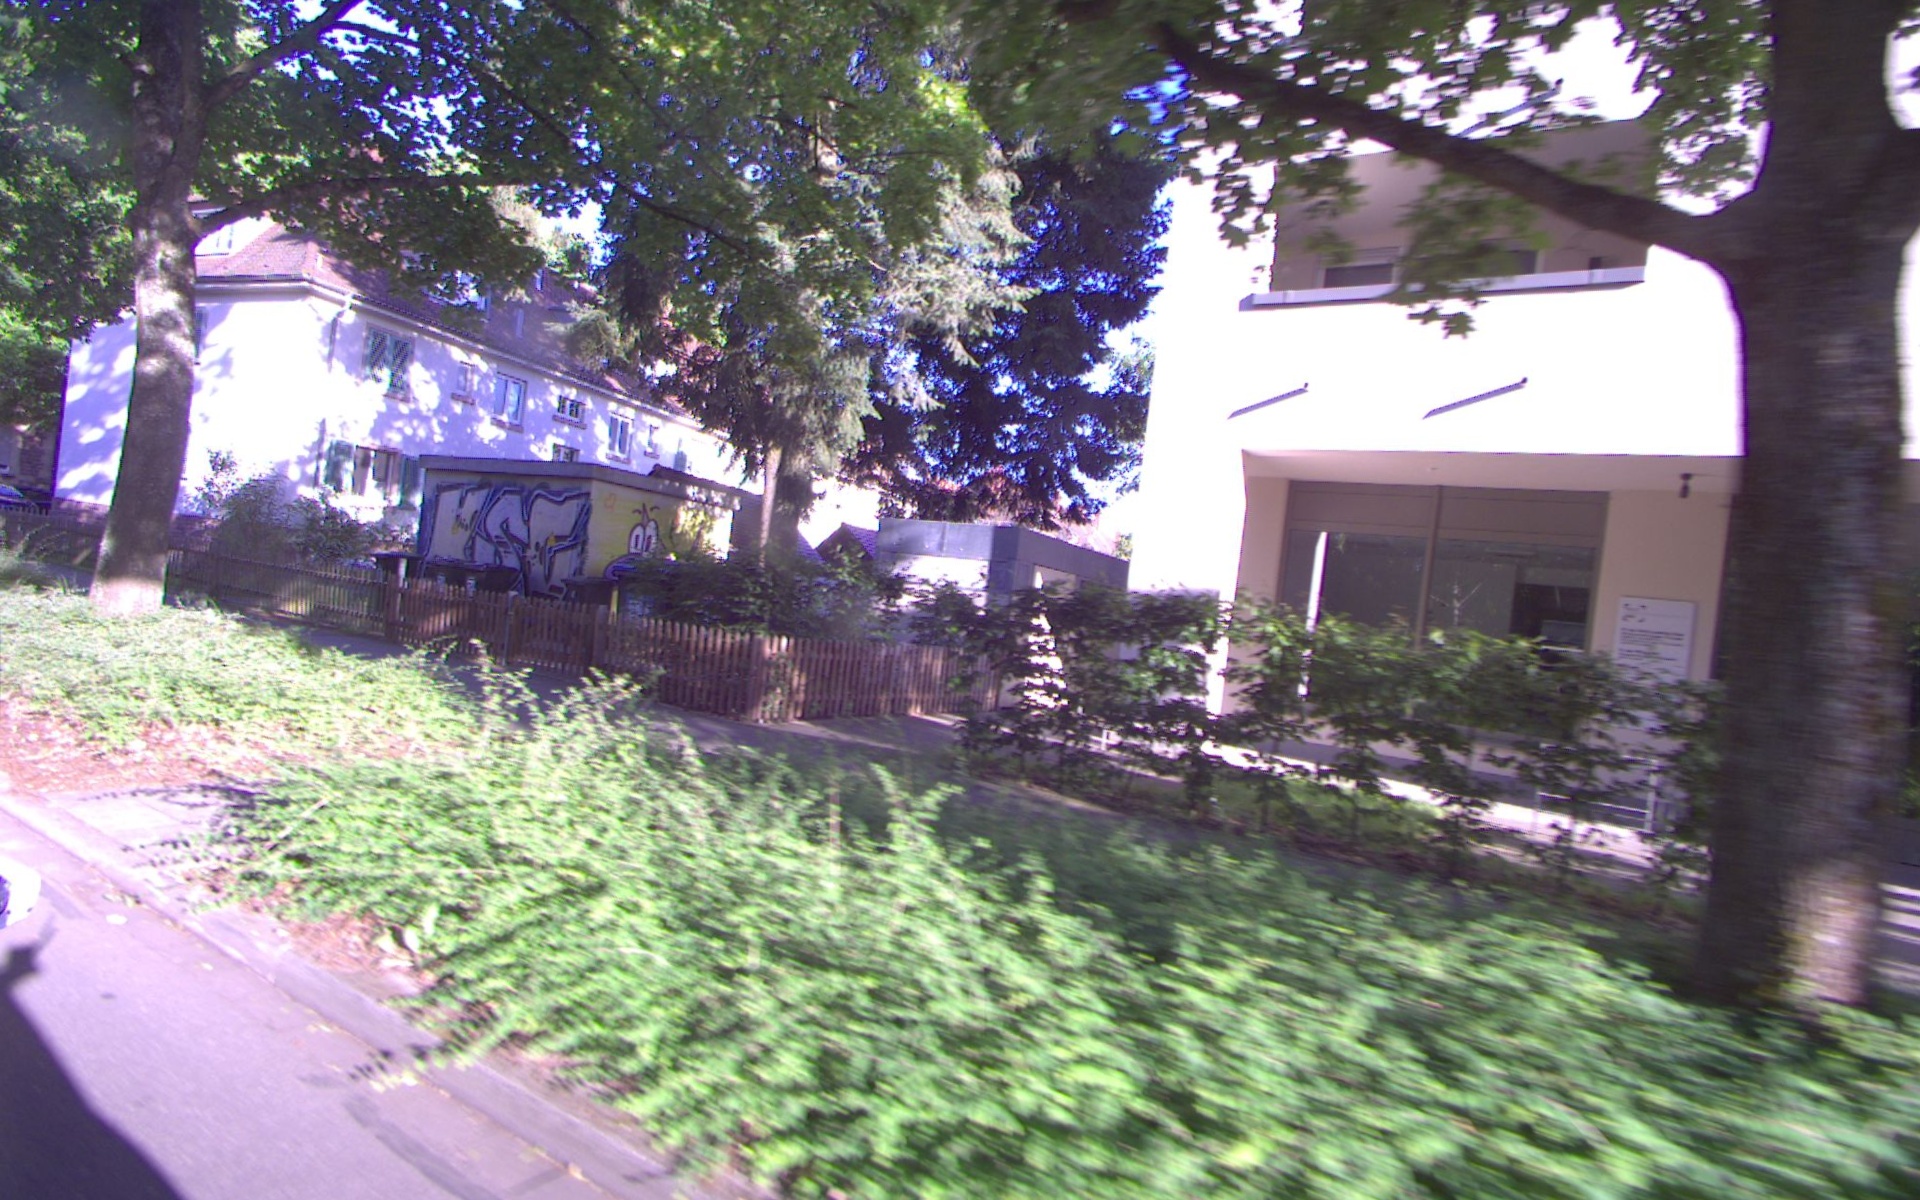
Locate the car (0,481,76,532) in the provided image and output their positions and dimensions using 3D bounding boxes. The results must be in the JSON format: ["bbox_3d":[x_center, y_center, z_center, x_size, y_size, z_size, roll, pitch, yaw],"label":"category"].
[{"bbox_3d":[-38.441,-3.925,40.192,1.703,1.640,4.261,8,-1,22],"label":"car"}]

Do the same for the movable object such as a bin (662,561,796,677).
[{"bbox_3d":[-3.238,0.267,14.106,1.343,1.445,1.079,7,1,31],"label":"movable object such as a bin"}]

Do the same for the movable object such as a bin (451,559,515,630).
[{"bbox_3d":[-7.558,-0.087,15.944,0.630,1.043,0.606,7,2,31],"label":"movable object such as a bin"}]

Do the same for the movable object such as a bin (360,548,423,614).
[{"bbox_3d":[-9.776,-0.321,17.312,0.634,1.043,0.643,7,1,31],"label":"movable object such as a bin"}]

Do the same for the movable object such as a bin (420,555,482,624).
[{"bbox_3d":[-8.285,-0.169,16.383,0.585,1.043,0.615,7,1,31],"label":"movable object such as a bin"}]

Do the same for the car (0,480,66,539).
[{"bbox_3d":[-31.005,-3.007,32.136,3.927,1.573,2.001,5,-2,22],"label":"car"}]

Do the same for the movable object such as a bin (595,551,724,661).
[{"bbox_3d":[-4.451,0.092,14.930,1.364,1.449,1.079,7,1,31],"label":"movable object such as a bin"}]

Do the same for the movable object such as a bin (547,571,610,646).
[{"bbox_3d":[-5.686,0.135,15.009,0.604,1.043,0.538,7,2,31],"label":"movable object such as a bin"}]
